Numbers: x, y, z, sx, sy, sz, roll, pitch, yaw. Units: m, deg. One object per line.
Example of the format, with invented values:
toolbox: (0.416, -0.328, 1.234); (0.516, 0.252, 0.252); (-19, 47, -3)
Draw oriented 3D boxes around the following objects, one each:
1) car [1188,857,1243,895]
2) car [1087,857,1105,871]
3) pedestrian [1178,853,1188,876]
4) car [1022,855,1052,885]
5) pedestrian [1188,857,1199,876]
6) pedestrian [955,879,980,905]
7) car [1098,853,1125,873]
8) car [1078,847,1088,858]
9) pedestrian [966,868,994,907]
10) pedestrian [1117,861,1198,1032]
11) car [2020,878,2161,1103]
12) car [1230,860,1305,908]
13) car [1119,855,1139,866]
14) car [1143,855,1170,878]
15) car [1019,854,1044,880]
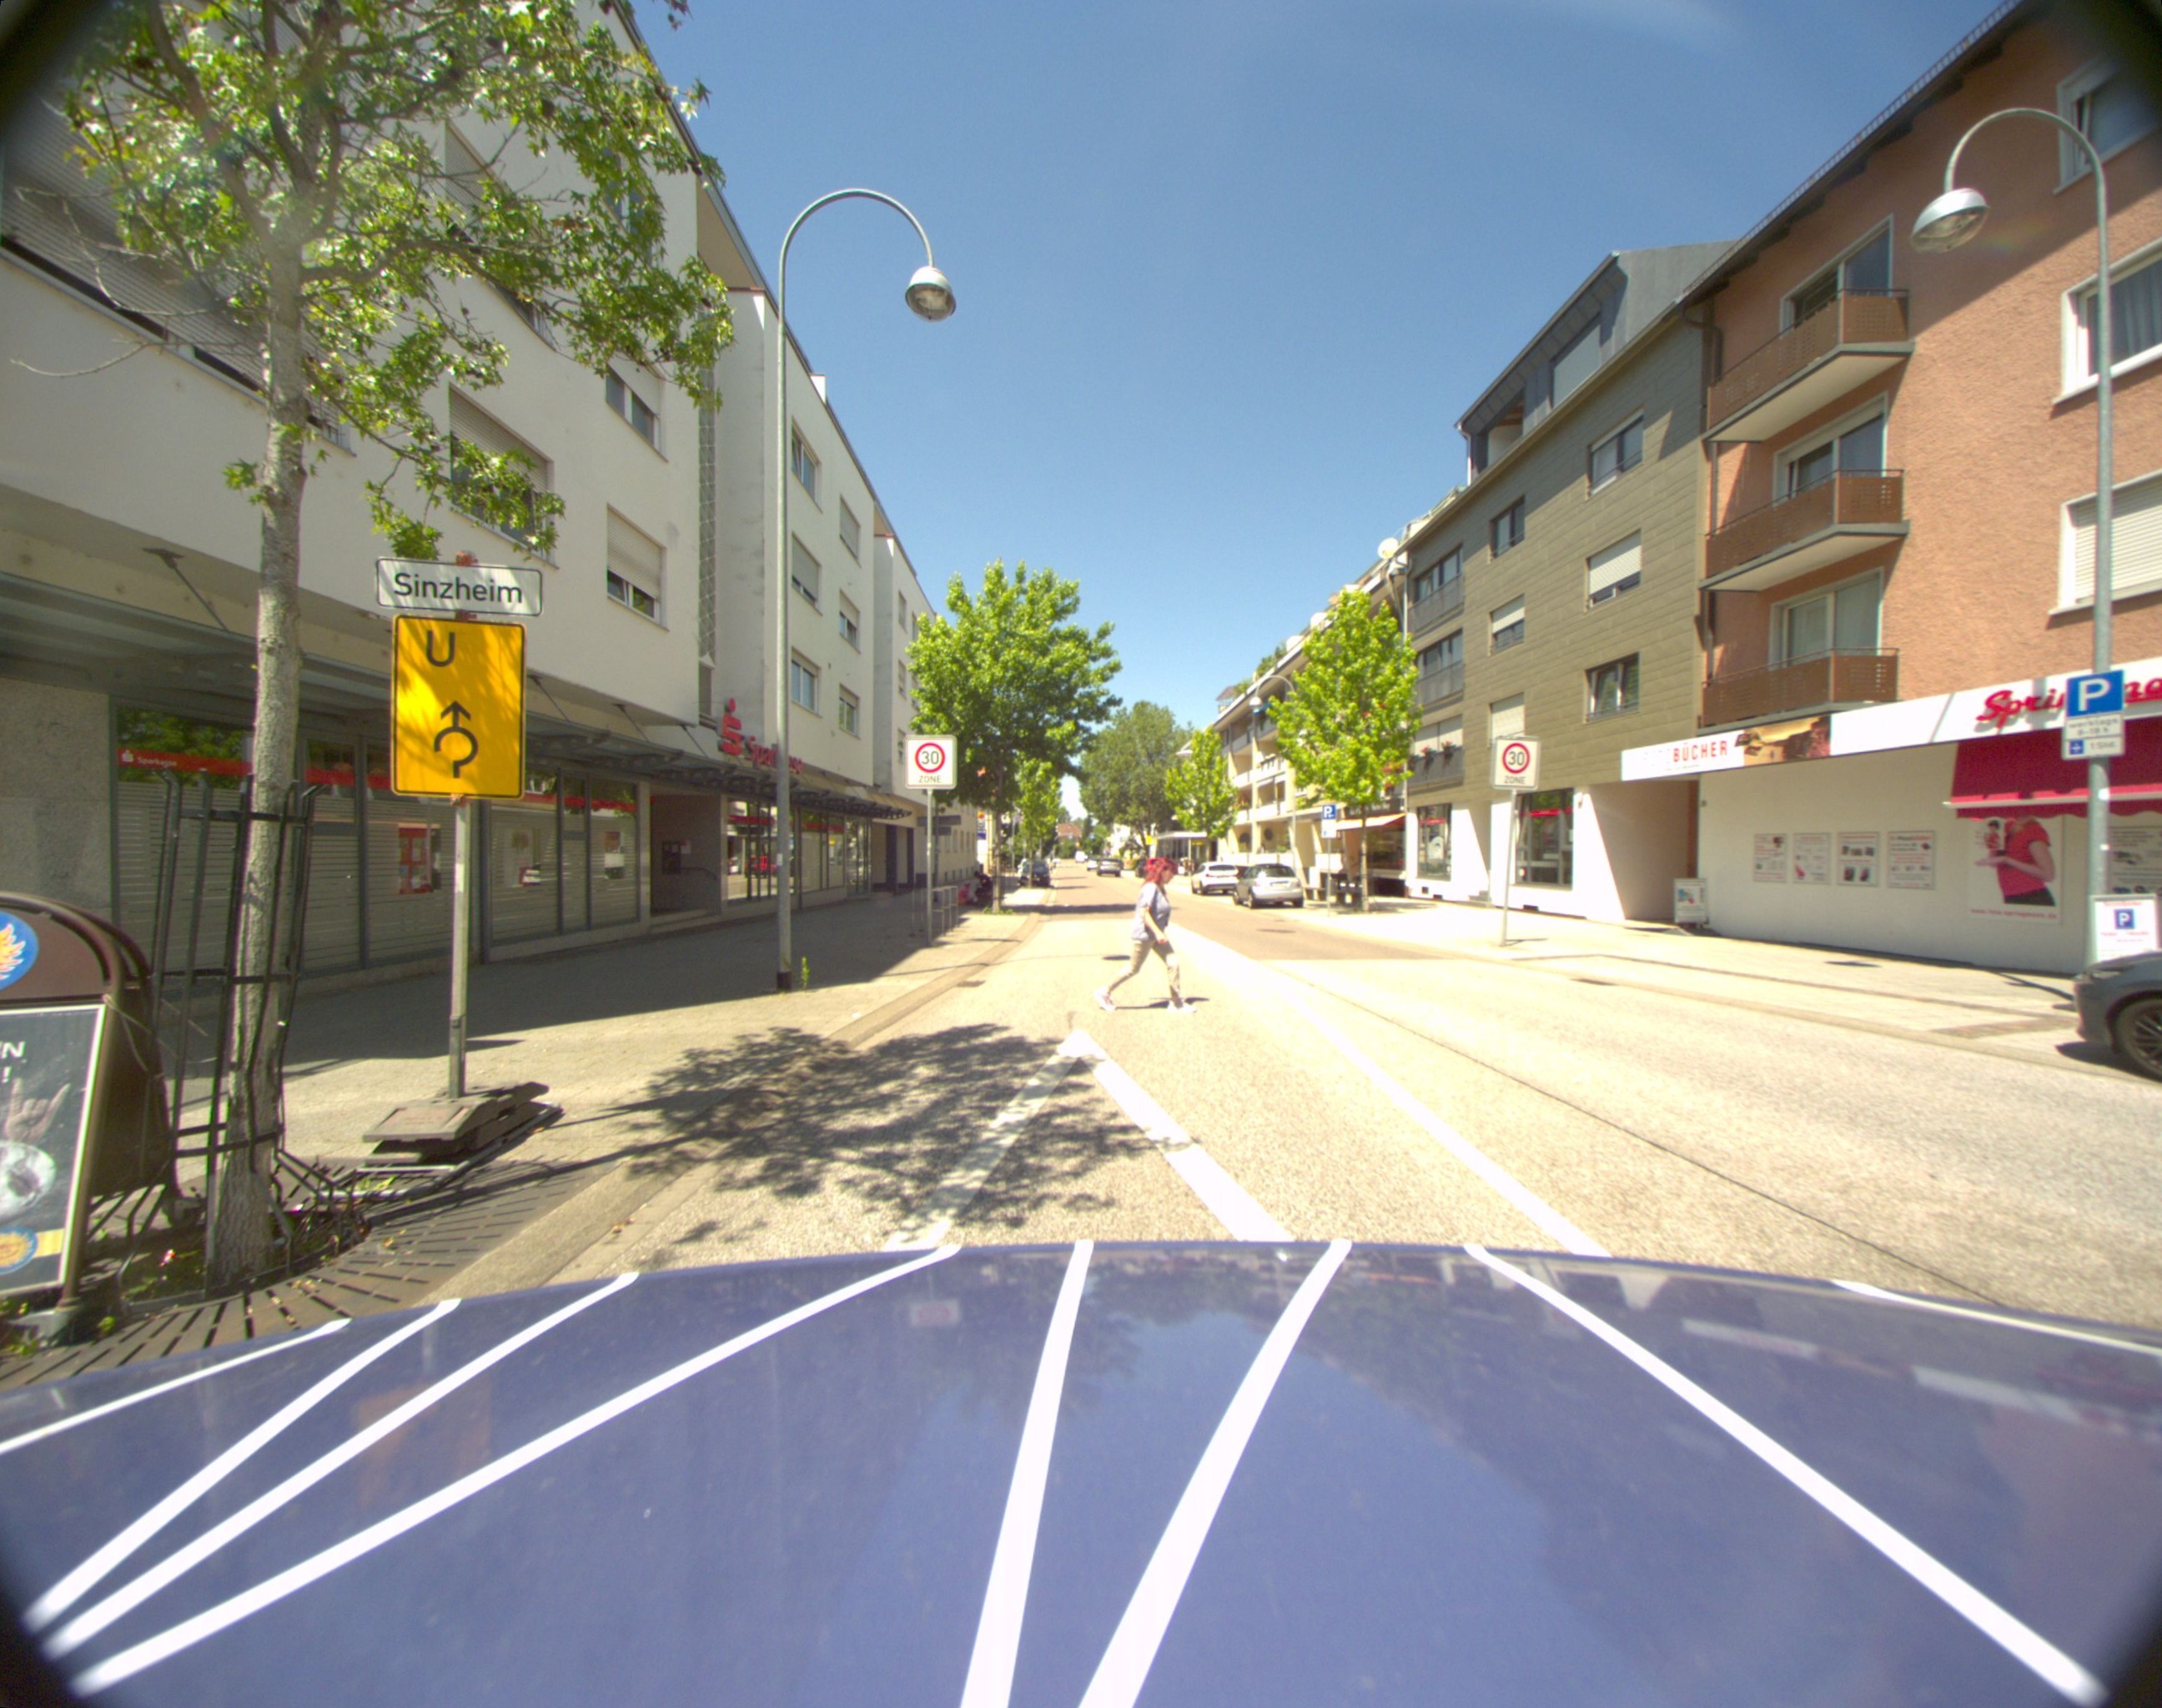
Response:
car: (6.299, 0.999, 35.978); (1.699, 1.583, 4.299); (-4, 0, -1)
car: (1.811, 1.191, 91.891); (1.776, 1.623, 4.298); (0, 0, -4)
pedestrian: (7.874, 0.810, 58.502); (0.667, 1.794, 0.686); (0, 0, 14)
car: (-2.730, 0.941, 46.996); (1.693, 1.712, 3.998); (3, 0, -4)
pedestrian: (8.740, 0.964, 58.950); (0.778, 1.490, 0.698); (0, 0, 10)
pedestrian: (-3.866, 1.293, 25.832); (0.678, 0.847, 0.538); (1, 1, 13)
car: (2.717, 0.794, 68.766); (1.906, 1.744, 4.755); (1, 0, -4)
car: (0.396, -0.395, 181.065); (2.232, 2.452, 5.248); (0, 0, -1)
pedestrian: (-3.343, 1.103, 25.081); (0.761, 1.233, 0.538); (1, 1, 13)
pedestrian: (0.736, 0.873, 7.441); (0.734, 1.600, 0.559); (0, 0, 1)
car: (8.373, 0.945, 4.003); (1.672, 1.477, 4.059); (-3, 0, -4)
car: (6.162, 0.963, 25.445); (1.626, 1.465, 3.548); (0, 0, -1)
car: (6.325, 0.791, 100.571); (1.999, 1.412, 3.998); (0, 0, -5)
car: (5.893, 0.956, 59.414); (1.645, 1.652, 3.370); (-2, 0, -1)
car: (-3.412, 0.865, 52.504); (1.693, 1.712, 4.132); (0, 0, -4)
